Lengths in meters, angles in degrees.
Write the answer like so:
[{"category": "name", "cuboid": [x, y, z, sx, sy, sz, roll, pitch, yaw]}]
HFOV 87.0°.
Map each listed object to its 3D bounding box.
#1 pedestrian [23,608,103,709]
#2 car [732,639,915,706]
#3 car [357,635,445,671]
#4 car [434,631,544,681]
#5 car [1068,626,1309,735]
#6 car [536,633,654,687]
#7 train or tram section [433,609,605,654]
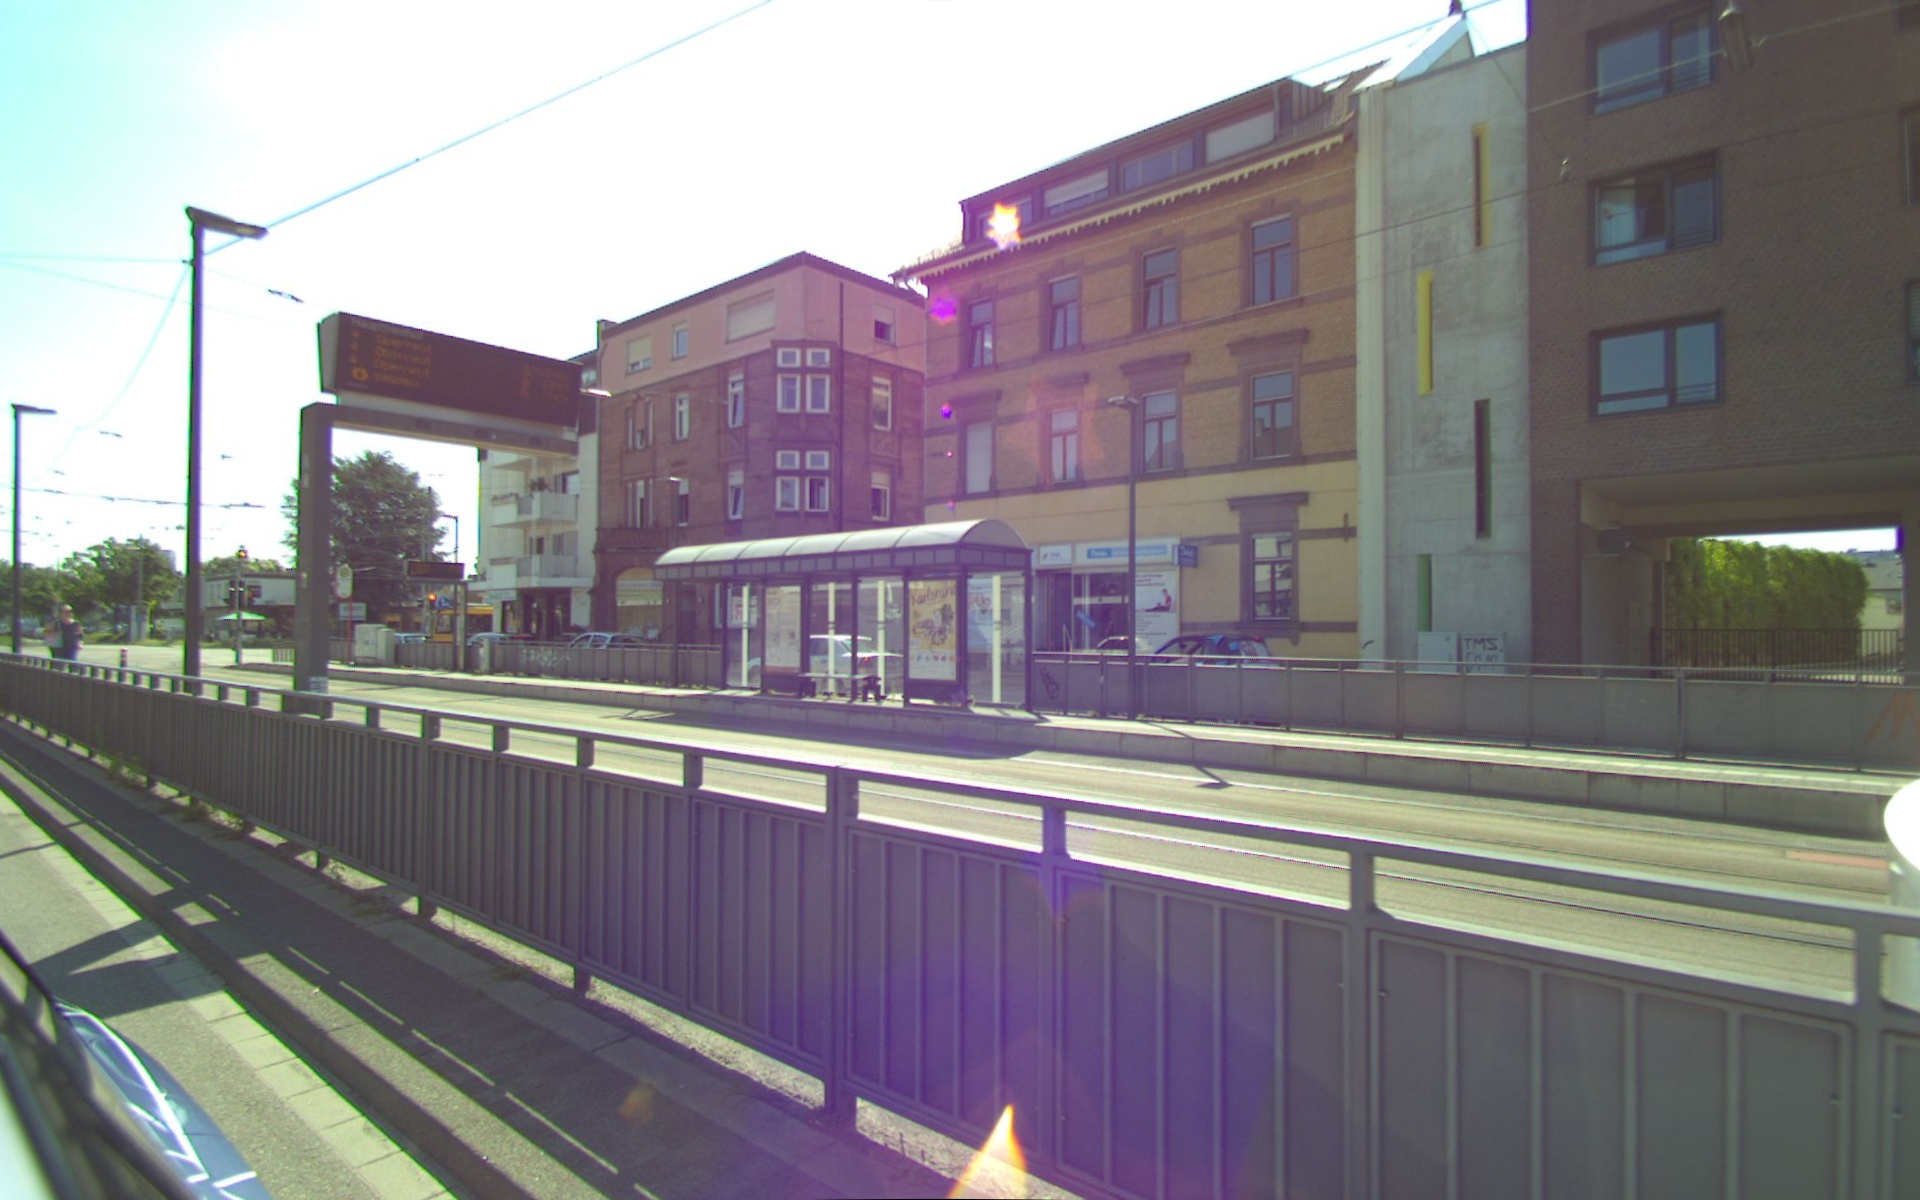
[{"category": "pedestrian", "cuboid": [-17.349, 1.105, 19.576, 1.237, 1.873, 0.970, -2, -3, 41]}, {"category": "car", "cuboid": [-3.243, 1.614, 23.519, 4.518, 1.373, 1.614, -1, -3, 41]}, {"category": "car", "cuboid": [-21.942, 2.029, 39.668, 4.076, 1.253, 1.694, -1, 0, 41]}, {"category": "car", "cuboid": [-15.973, 1.881, 34.229, 4.470, 1.527, 1.694, -2, -1, 41]}, {"category": "car", "cuboid": [3.764, 1.286, 16.935, 3.577, 1.635, 1.694, -2, -4, 41]}, {"category": "car", "cuboid": [-10.692, 1.723, 29.550, 3.863, 1.480, 1.608, -2, -3, 41]}, {"category": "train or tram section", "cuboid": [-36.521, 2.647, 84.601, 2.689, 3.507, 13.148, -1, -2, 43]}]
